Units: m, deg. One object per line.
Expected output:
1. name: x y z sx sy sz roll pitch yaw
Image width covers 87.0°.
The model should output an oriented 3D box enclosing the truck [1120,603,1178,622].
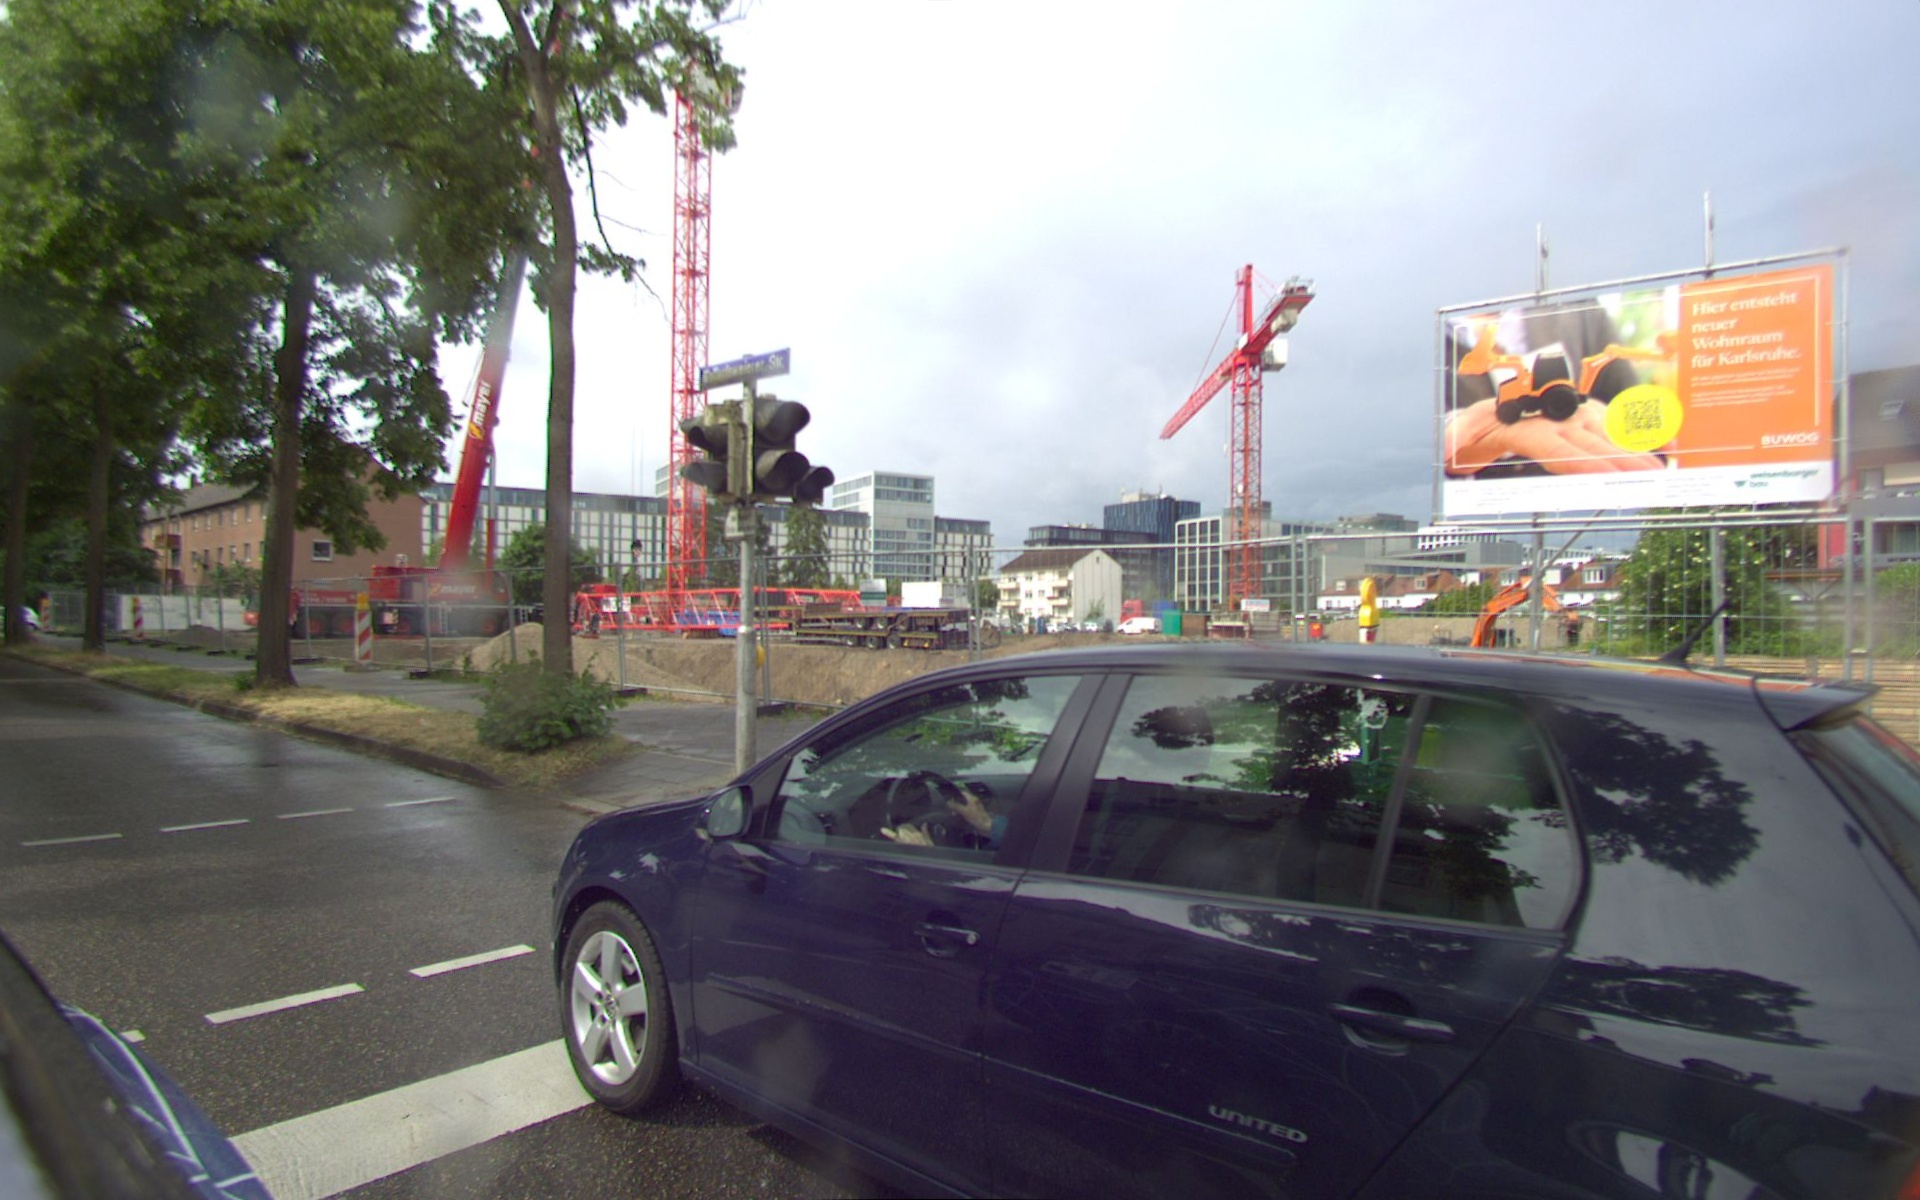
1. truck: 21.654 1.433 116.226 6.289 2.095 1.885 0 1 24

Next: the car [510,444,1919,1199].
1. car: 0.636 0.697 2.710 3.999 1.620 1.821 -1 -4 42

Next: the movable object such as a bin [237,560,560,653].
1. movable object such as a bin: -30.834 0.226 56.963 3.102 4.592 15.732 0 1 43

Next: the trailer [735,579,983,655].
1. trailer: -5.406 0.674 49.882 14.298 3.257 2.931 0 2 40

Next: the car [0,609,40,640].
1. car: -51.773 1.320 54.051 1.699 1.563 3.816 0 1 45

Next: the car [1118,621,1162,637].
1. car: 19.739 3.175 111.305 4.581 1.529 1.797 1 1 43

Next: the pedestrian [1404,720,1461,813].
1. pedestrian: 9.306 3.253 19.953 0.580 1.698 0.849 6 -5 -44

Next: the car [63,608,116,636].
1. car: -52.257 1.305 60.740 3.995 1.541 1.673 0 1 38
